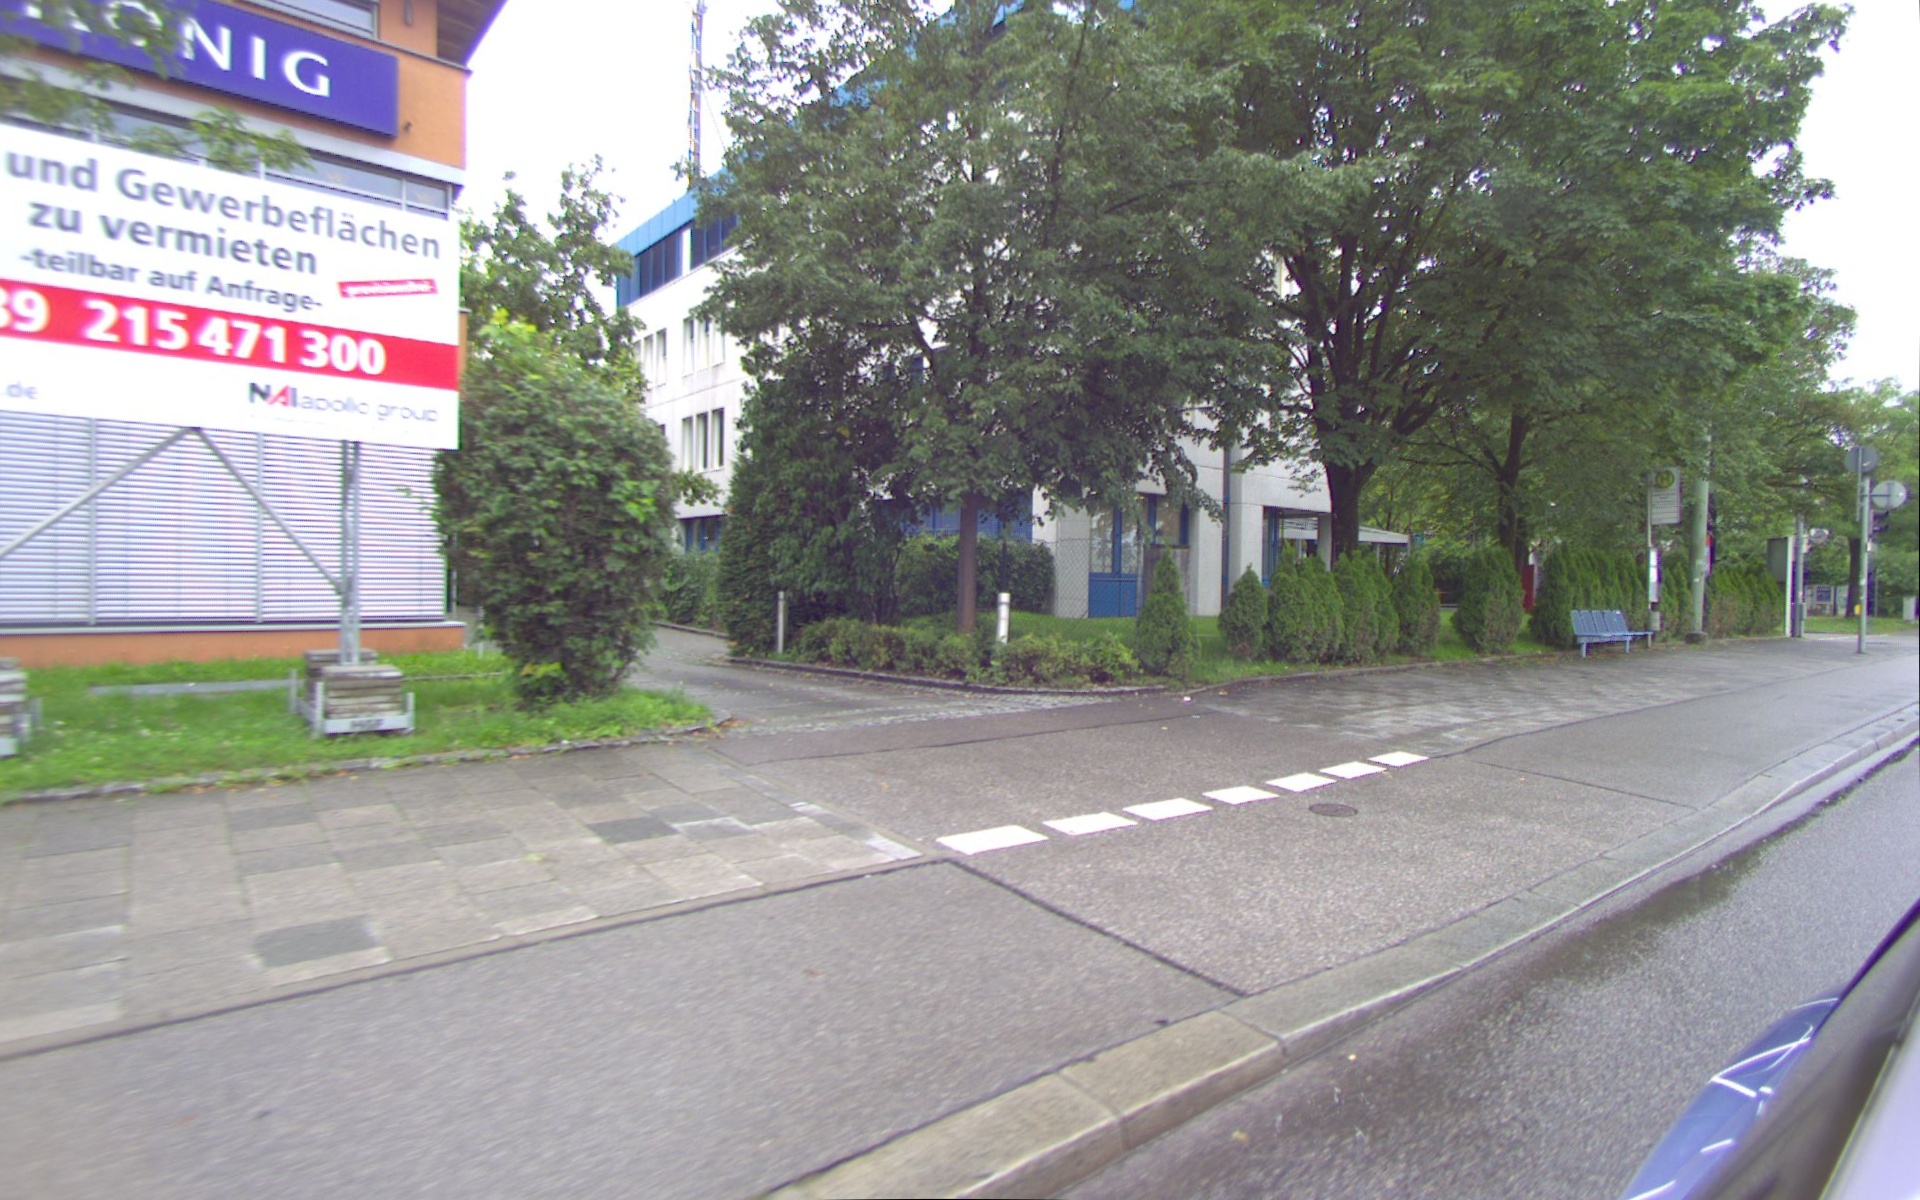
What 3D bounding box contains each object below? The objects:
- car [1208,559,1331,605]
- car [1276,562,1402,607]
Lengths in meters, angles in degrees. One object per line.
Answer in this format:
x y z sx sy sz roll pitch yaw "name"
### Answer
10.651 -0.674 35.186 1.830 1.436 4.186 1 2 -22 "car"
13.459 -0.599 36.232 1.830 1.436 4.186 1 2 -22 "car"
